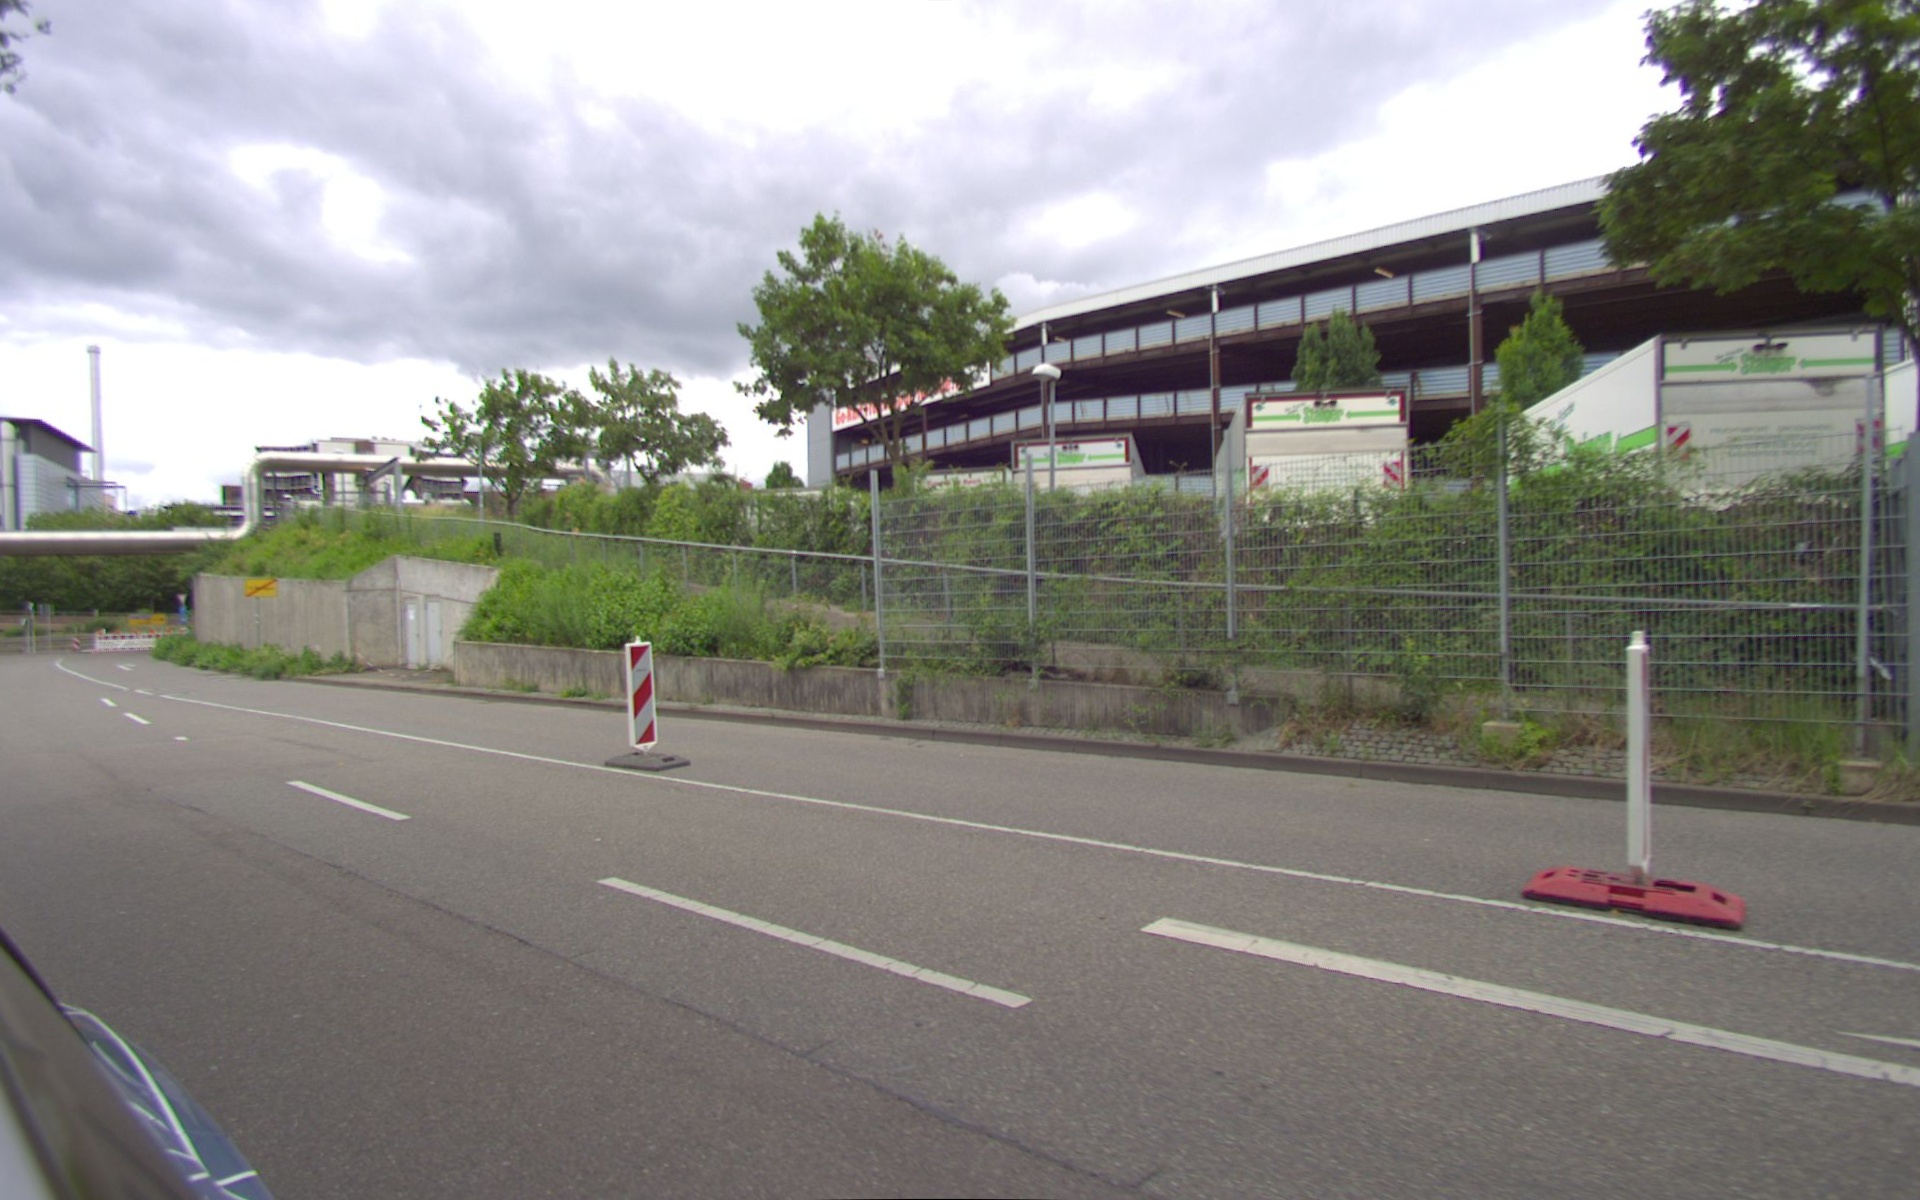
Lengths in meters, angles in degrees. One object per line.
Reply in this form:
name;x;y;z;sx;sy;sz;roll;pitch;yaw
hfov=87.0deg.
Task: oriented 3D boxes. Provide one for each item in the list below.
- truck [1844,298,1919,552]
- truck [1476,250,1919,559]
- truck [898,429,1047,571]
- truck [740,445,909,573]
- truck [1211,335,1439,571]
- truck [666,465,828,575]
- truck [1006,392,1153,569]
truck;14.572;-2.471;12.037;3.026;3.564;7.825;0;1;16
truck;11.152;-2.517;16.298;3.020;3.564;7.839;0;1;11
truck;0.623;-2.666;29.936;3.020;3.564;7.839;0;1;11
truck;-4.070;-2.666;32.604;3.020;3.564;7.839;0;1;11
truck;6.694;-2.386;19.898;3.020;3.564;8.126;0;1;11
truck;-7.574;-2.718;37.291;3.020;3.564;7.839;0;1;11
truck;3.220;-2.602;25.122;3.020;3.564;7.839;0;1;11
